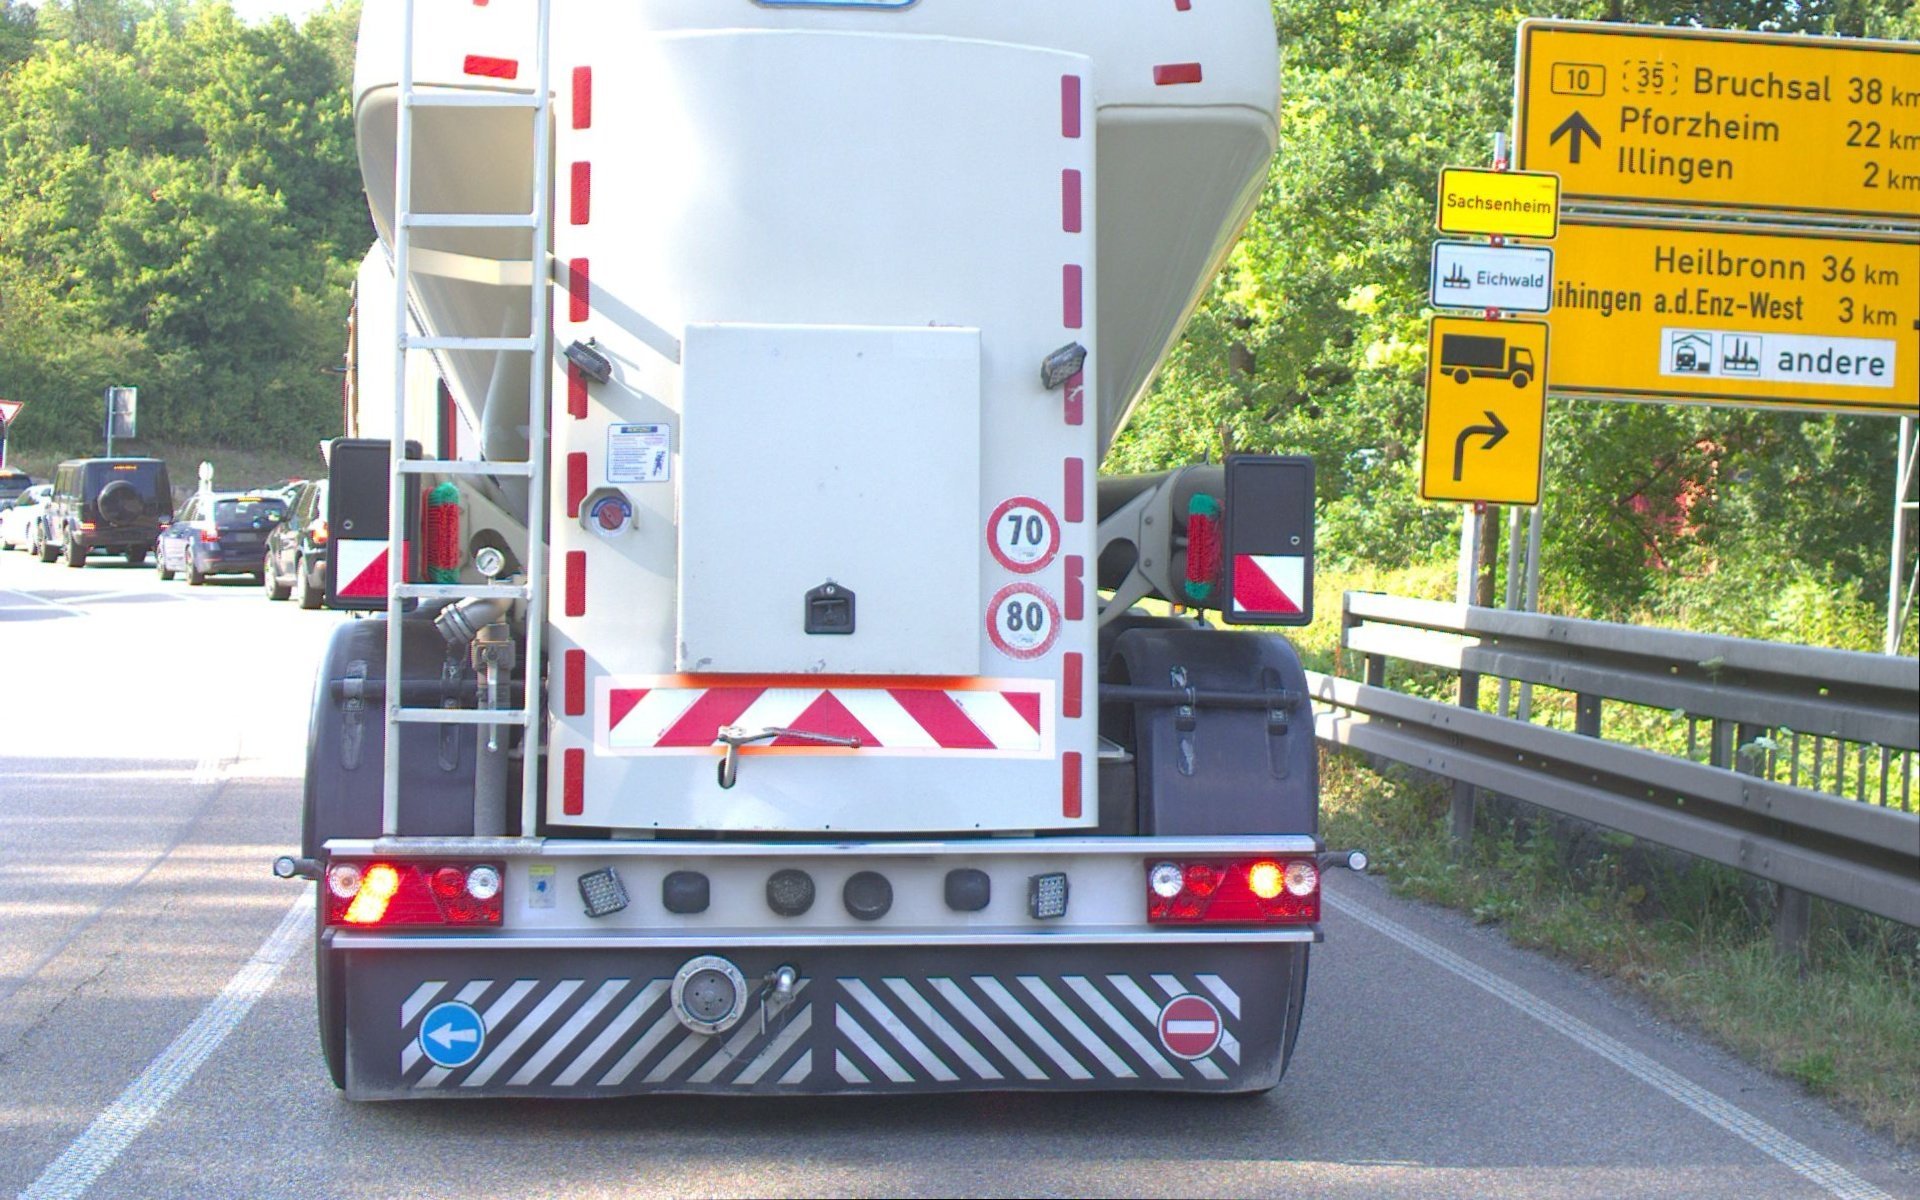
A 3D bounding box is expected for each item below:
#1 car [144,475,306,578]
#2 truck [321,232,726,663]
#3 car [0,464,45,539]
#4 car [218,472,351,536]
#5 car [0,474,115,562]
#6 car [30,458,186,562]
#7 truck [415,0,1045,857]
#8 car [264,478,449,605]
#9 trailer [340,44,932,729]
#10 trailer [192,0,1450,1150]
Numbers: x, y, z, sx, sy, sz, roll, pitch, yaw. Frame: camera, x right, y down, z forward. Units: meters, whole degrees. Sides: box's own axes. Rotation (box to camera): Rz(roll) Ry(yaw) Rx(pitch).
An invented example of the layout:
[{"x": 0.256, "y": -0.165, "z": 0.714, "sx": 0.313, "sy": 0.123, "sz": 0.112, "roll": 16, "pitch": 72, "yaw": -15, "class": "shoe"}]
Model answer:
[{"x": -11.724, "y": -1.191, "z": 54.652, "sx": 1.867, "sy": 1.559, "sz": 4.001, "roll": -1, "pitch": 2, "yaw": -22, "class": "car"}, {"x": -4.814, "y": -1.534, "z": 36.609, "sx": 3.449, "sy": 4.072, "sz": 6.493, "roll": 2, "pitch": 1, "yaw": -14, "class": "truck"}, {"x": -21.773, "y": -2.247, "z": 76.427, "sx": 1.867, "sy": 1.589, "sz": 4.001, "roll": 3, "pitch": 1, "yaw": -27, "class": "car"}, {"x": -23.492, "y": -3.335, "z": 119.572, "sx": 3.988, "sy": 2.007, "sz": 1.999, "roll": 2, "pitch": 1, "yaw": -40, "class": "car"}, {"x": -18.856, "y": -1.716, "z": 70.835, "sx": 1.867, "sy": 1.677, "sz": 4.001, "roll": 2, "pitch": 1, "yaw": -28, "class": "car"}, {"x": -15.771, "y": -1.700, "z": 63.497, "sx": 1.956, "sy": 1.845, "sz": 4.001, "roll": -1, "pitch": 3, "yaw": -27, "class": "car"}, {"x": -1.423, "y": -0.903, "z": 18.689, "sx": 2.823, "sy": 4.021, "sz": 5.896, "roll": 1, "pitch": 1, "yaw": -7, "class": "truck"}, {"x": -8.187, "y": -0.825, "z": 46.421, "sx": 1.867, "sy": 1.622, "sz": 4.002, "roll": -1, "pitch": 2, "yaw": -19, "class": "car"}, {"x": -3.313, "y": -1.552, "z": 29.637, "sx": 3.544, "sy": 4.497, "sz": 12.988, "roll": 2, "pitch": 1, "yaw": -12, "class": "trailer"}, {"x": -0.762, "y": -1.038, "z": 12.773, "sx": 2.886, "sy": 4.439, "sz": 9.608, "roll": 1, "pitch": 1, "yaw": -6, "class": "trailer"}]
